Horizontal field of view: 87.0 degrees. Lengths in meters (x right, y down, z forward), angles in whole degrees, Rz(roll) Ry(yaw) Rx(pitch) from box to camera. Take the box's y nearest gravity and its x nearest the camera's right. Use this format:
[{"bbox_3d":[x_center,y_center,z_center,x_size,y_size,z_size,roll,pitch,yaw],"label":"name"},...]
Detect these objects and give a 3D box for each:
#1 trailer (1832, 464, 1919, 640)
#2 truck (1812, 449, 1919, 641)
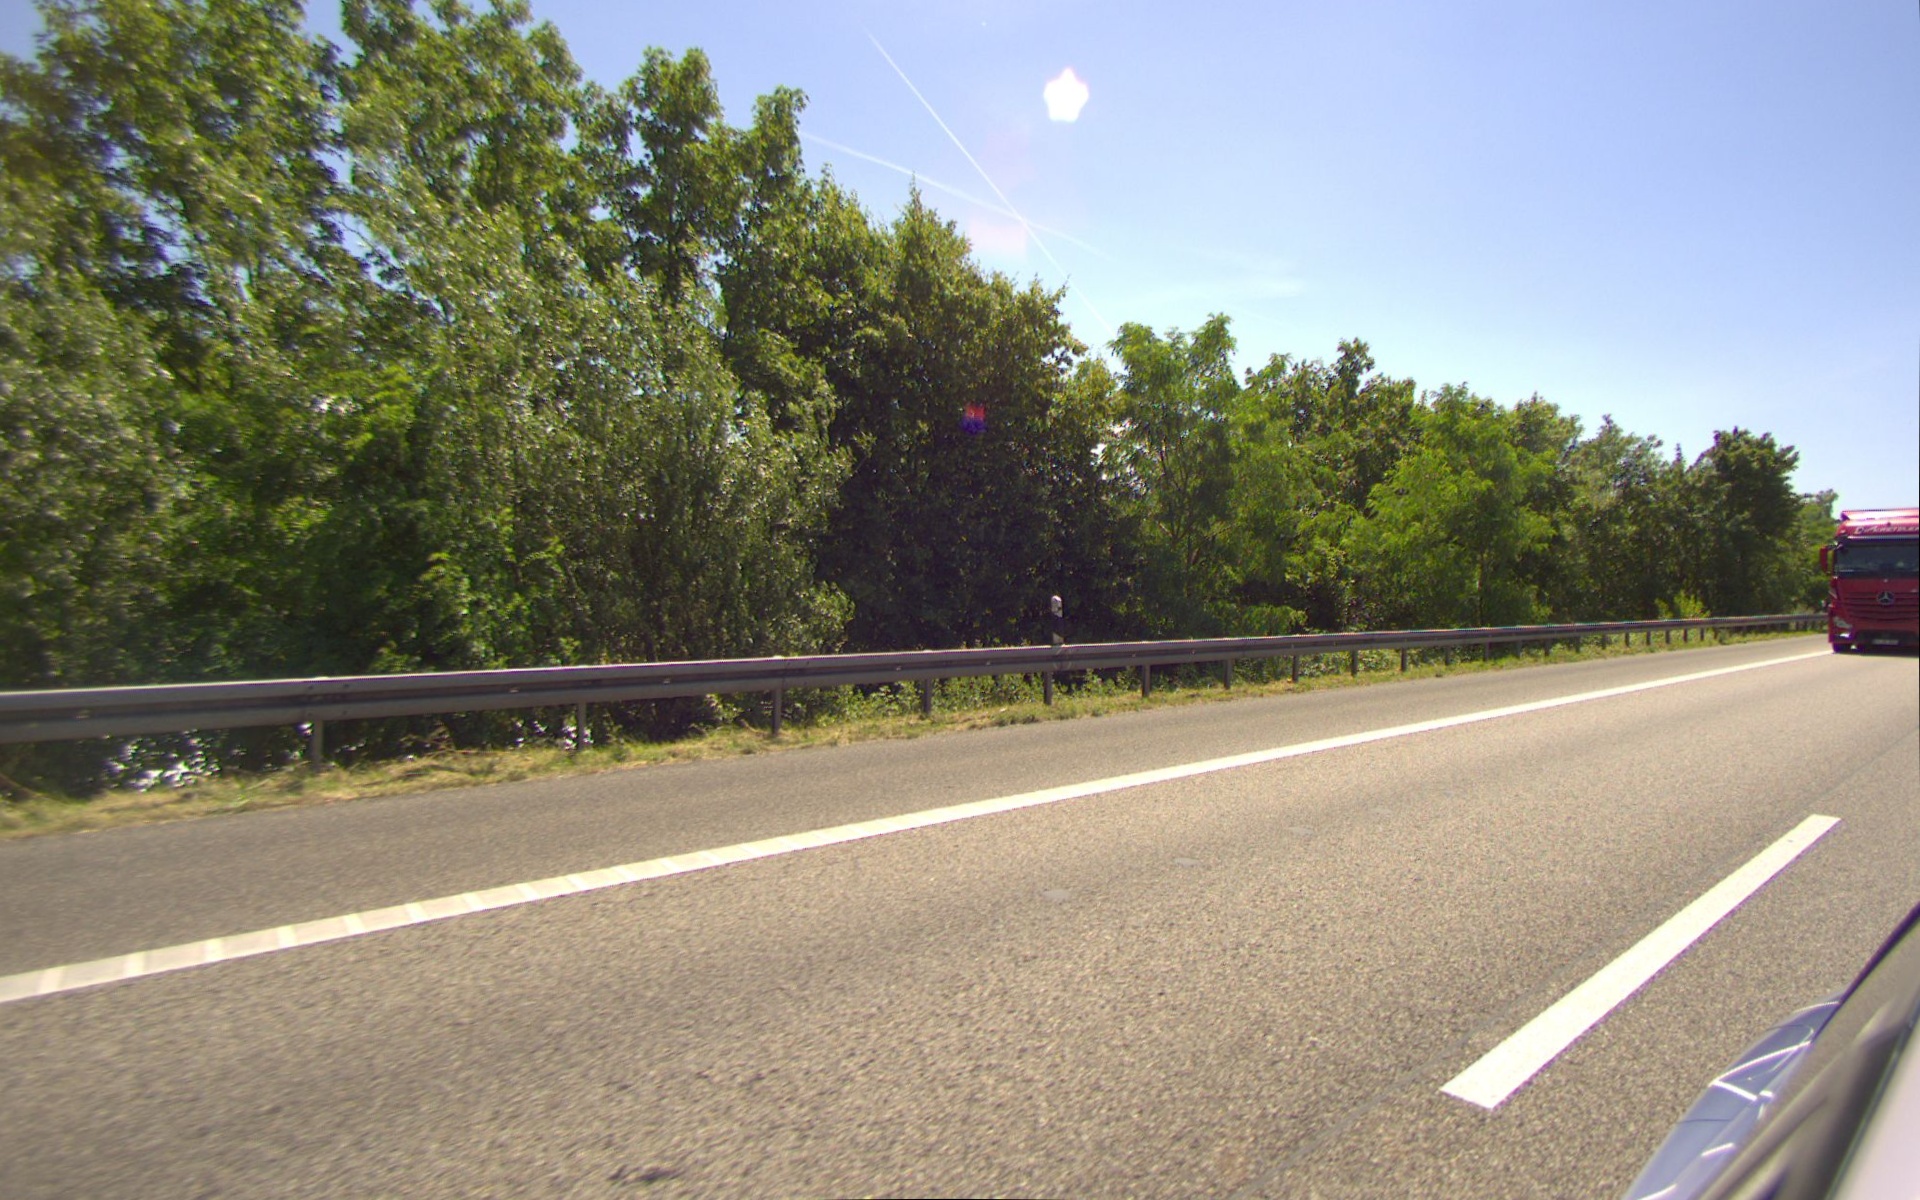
[{"bbox_3d":[31.904,-1.270,32.905,13.779,4.899,3.276,1,0,-40],"label":"trailer"},{"bbox_3d":[27.079,-1.394,28.787,6.848,4.951,3.240,1,0,-40],"label":"truck"}]
